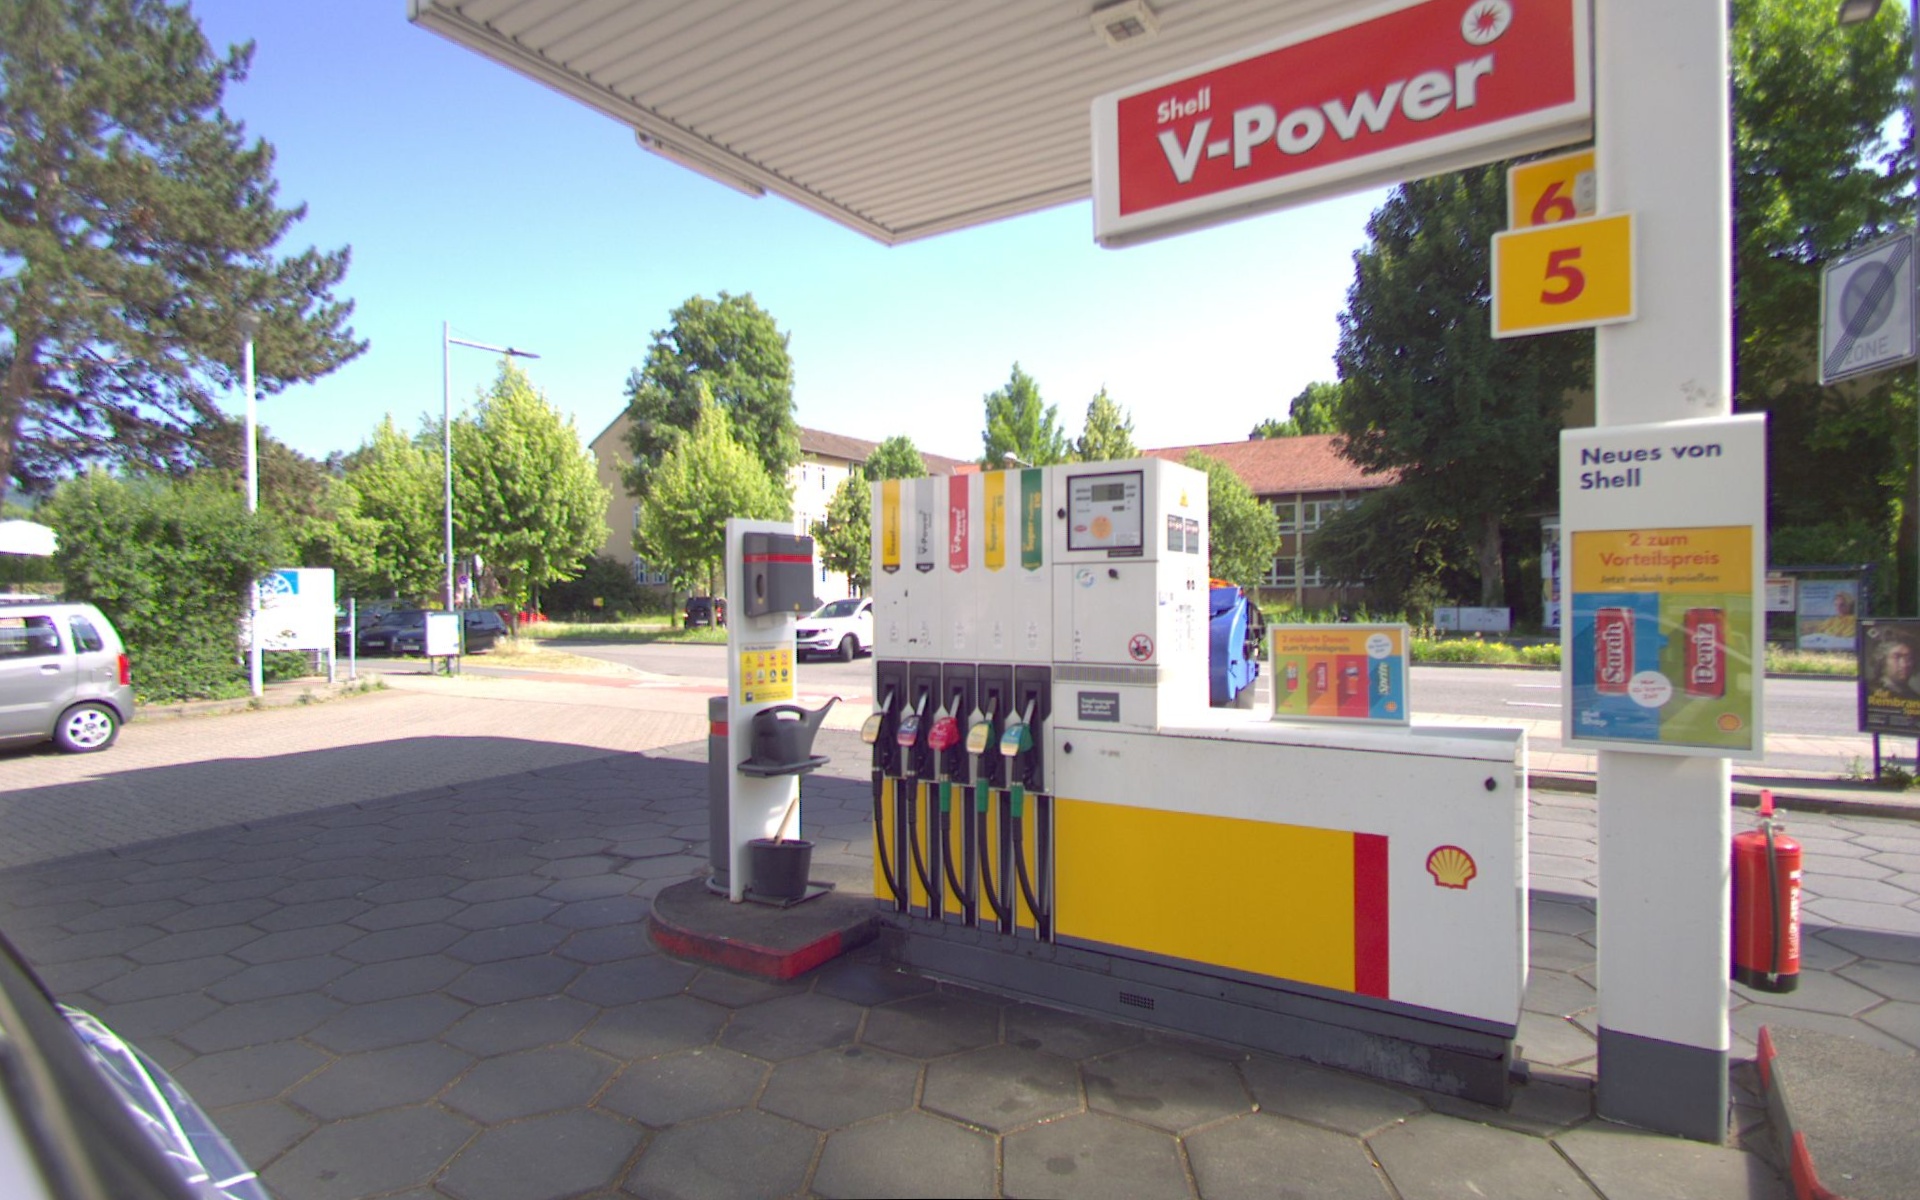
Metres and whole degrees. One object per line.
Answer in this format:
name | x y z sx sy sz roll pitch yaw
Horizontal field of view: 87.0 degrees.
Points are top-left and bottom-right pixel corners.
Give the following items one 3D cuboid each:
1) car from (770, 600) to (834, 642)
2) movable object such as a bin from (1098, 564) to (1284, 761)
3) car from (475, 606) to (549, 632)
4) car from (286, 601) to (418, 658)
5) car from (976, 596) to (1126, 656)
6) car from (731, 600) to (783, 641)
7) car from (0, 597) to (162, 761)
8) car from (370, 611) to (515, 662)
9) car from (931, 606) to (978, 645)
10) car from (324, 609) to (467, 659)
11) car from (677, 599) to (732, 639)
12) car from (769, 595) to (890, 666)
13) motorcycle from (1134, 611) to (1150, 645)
car | -6.885 0.937 44.416 1.857 1.735 4.220 1 -1 4
movable object such as a bin | 2.223 0.567 9.669 1.334 1.701 1.327 0 -2 35
car | -25.021 1.087 56.606 1.864 1.401 3.708 1 -2 15
car | -19.976 0.939 33.488 1.681 1.733 4.401 0 -1 1
car | 2.905 0.790 32.298 4.370 1.782 1.981 0 0 28
car | -9.135 0.930 45.753 1.852 1.735 4.231 1 -2 -6
car | -10.740 0.839 10.419 1.688 1.629 3.619 -1 1 35
car | -15.483 1.078 30.568 1.859 1.428 4.217 0 -2 7
car | -0.269 1.012 40.027 1.716 1.471 4.228 0 -1 -3
car | -17.802 1.057 32.176 1.859 1.493 4.217 0 -1 7
car | -11.746 0.907 46.755 1.852 1.735 4.231 1 -2 -6
car | -3.508 0.769 28.120 1.979 1.782 4.374 -1 0 12
motorcycle | 6.344 0.969 35.308 0.551 1.122 1.753 0 0 10
